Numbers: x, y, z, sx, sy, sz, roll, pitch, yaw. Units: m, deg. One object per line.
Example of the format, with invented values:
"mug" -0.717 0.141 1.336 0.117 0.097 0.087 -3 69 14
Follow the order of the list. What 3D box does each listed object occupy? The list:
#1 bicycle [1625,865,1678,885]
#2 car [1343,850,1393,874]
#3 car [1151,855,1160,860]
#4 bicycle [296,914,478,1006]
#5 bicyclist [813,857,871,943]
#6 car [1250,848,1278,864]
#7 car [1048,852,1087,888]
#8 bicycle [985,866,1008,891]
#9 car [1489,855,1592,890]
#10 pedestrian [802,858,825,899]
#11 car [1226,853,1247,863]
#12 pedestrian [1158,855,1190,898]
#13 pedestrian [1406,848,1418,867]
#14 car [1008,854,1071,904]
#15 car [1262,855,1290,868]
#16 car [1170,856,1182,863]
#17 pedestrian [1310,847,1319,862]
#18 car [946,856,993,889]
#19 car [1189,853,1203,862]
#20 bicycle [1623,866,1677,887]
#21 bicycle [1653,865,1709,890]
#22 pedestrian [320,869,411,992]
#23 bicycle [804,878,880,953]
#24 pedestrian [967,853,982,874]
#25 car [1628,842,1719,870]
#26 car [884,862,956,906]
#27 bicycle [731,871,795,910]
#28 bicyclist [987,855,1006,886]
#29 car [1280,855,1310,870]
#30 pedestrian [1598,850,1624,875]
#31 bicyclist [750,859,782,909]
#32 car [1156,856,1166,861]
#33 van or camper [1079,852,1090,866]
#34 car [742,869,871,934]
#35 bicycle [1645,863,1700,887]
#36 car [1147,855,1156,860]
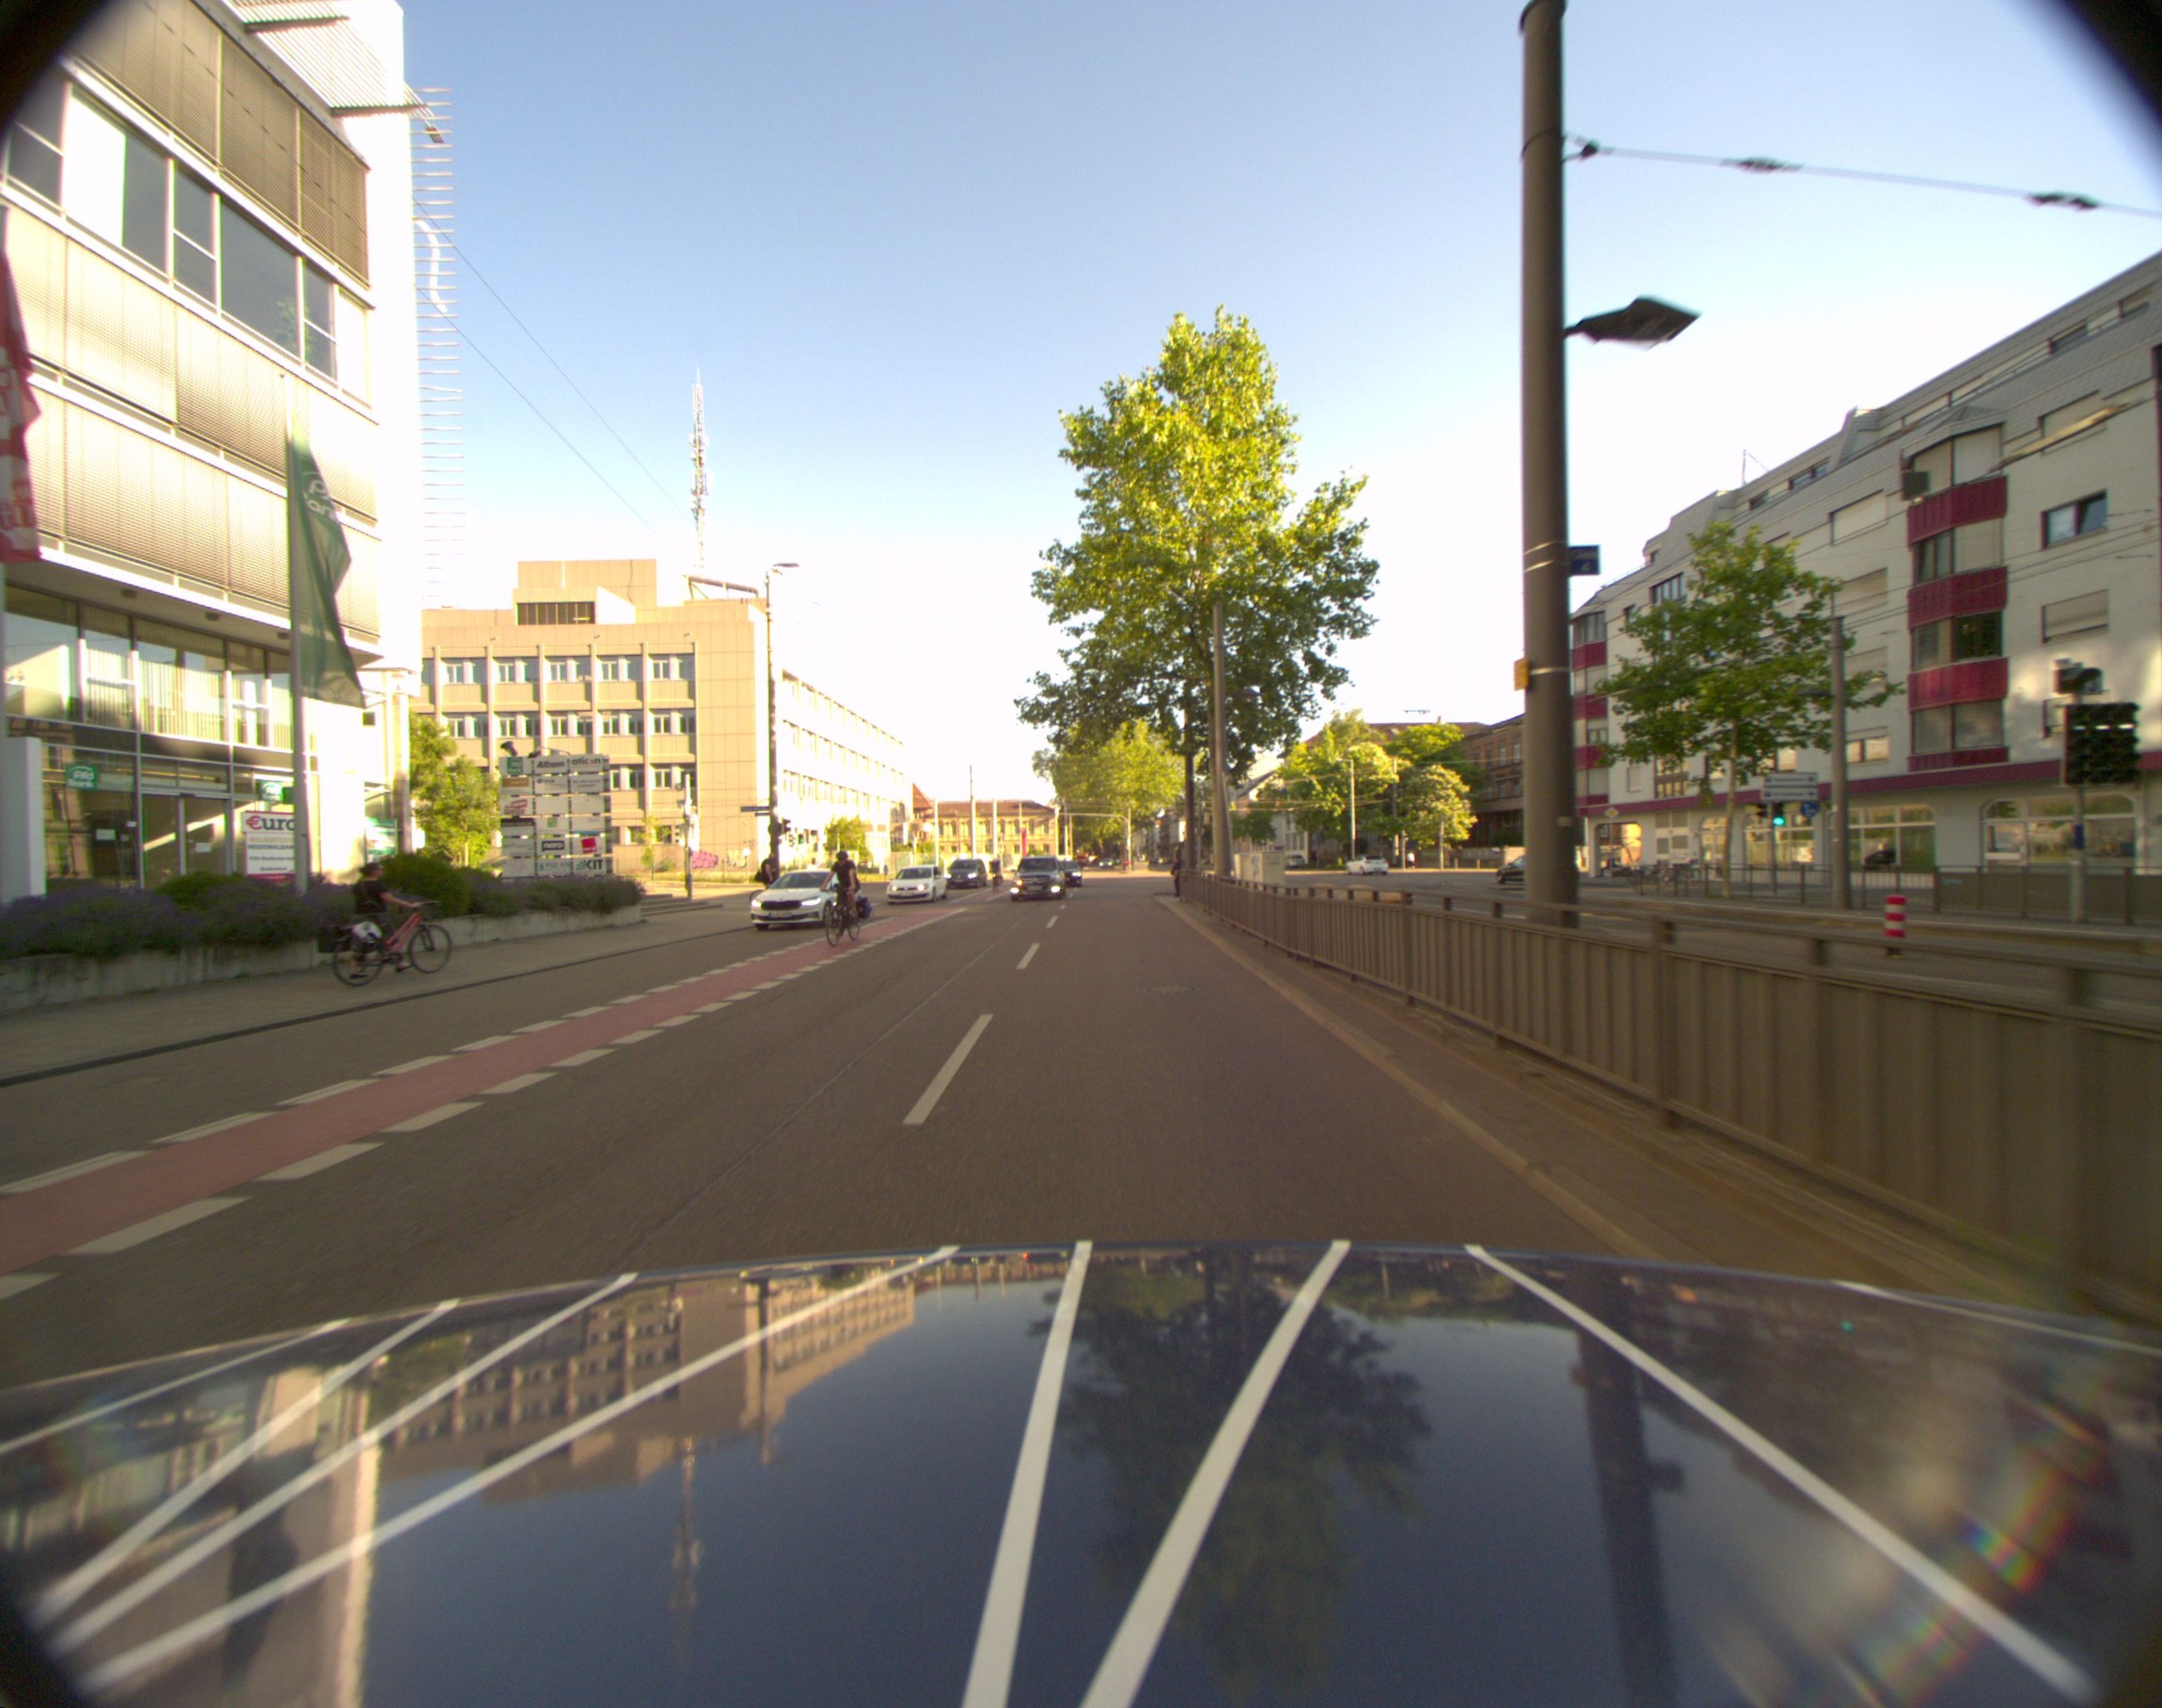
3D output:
"bicycle" 25.023 0.933 33.337 1.847 0.849 0.553 -1 0 4
"car" 19.992 0.540 53.132 1.960 1.585 4.261 -1 0 1
"car" 22.287 1.039 227.850 2.087 1.531 4.008 -3 0 -2
"bicycle" -9.609 1.425 10.665 0.522 0.969 2.201 3 0 -1
"bicyclist" -4.546 0.848 14.520 0.651 1.593 1.089 0 0 6
"car" 19.610 0.202 81.670 1.960 1.663 4.260 -1 0 0
"car" -0.661 0.815 40.329 1.793 1.694 4.301 -3 0 1
"bicycle" -4.063 1.171 36.662 0.764 1.137 2.307 0 0 2
"car" 20.127 0.769 33.535 1.704 1.391 4.650 -1 0 -1
"pedestrian" -12.136 1.077 34.489 0.780 1.813 1.215 0 0 -9
"car" 23.558 0.626 115.337 2.087 1.461 4.578 -3 0 -2
"pedestrian" 3.376 0.807 27.510 1.047 1.535 0.695 0 0 16
"pedestrian" 29.224 0.340 67.087 0.570 1.655 0.630 -3 1 -30
"car" -1.465 0.859 28.425 1.908 1.634 4.517 -3 0 1
"car" 23.706 0.922 92.461 2.087 1.493 4.456 -3 0 -2
"car" 22.413 1.327 179.613 2.087 1.531 4.516 -3 0 -2
"pedestrian" 27.813 0.046 90.614 0.736 1.742 1.019 0 0 -1
"car" -6.086 0.980 42.070 1.793 1.633 4.301 -3 0 1
"car" 23.675 0.695 156.768 2.087 1.664 4.532 -3 0 -2
"bicycle" 24.407 0.970 32.626 1.847 0.849 0.553 -1 0 4
"bicycle" 24.276 0.935 30.746 1.848 0.979 0.553 -1 0 -1
"pedestrian" -10.086 1.059 10.738 0.648 1.670 0.651 0 0 -2
"bicycle" -4.528 1.129 14.555 0.651 1.273 1.967 0 0 6
"pedestrian" -9.182 0.800 65.495 1.084 1.802 0.734 -2 1 -43
"car" 34.788 0.101 44.683 3.999 1.546 1.999 -1 0 -7
"car" -6.350 1.124 30.407 1.793 1.493 4.301 -3 0 1
"bicycle" -10.766 1.225 25.784 1.870 1.273 0.650 2 -1 -35
"bicyclist" -4.076 0.785 36.624 0.727 1.413 0.859 -2 1 2
"car" 24.119 0.924 85.685 2.087 1.610 4.097 -3 0 -2
"pedestrian" 29.902 0.457 42.895 0.859 1.376 0.836 0 0 -9
"bicyclist" -10.715 1.014 25.833 0.865 1.662 0.650 -1 0 -35
"car" 22.820 1.278 217.542 2.087 1.531 4.255 -3 0 -2
"van or camper" 0.659 0.855 146.667 1.998 2.578 5.626 -2 0 1
"car" -6.851 1.133 19.454 1.705 1.381 4.075 -2 0 1
"bicycle" 24.407 0.856 31.350 1.848 0.979 0.553 -1 0 -1
"car" 22.595 1.022 243.202 2.087 1.531 4.119 -3 0 -2
